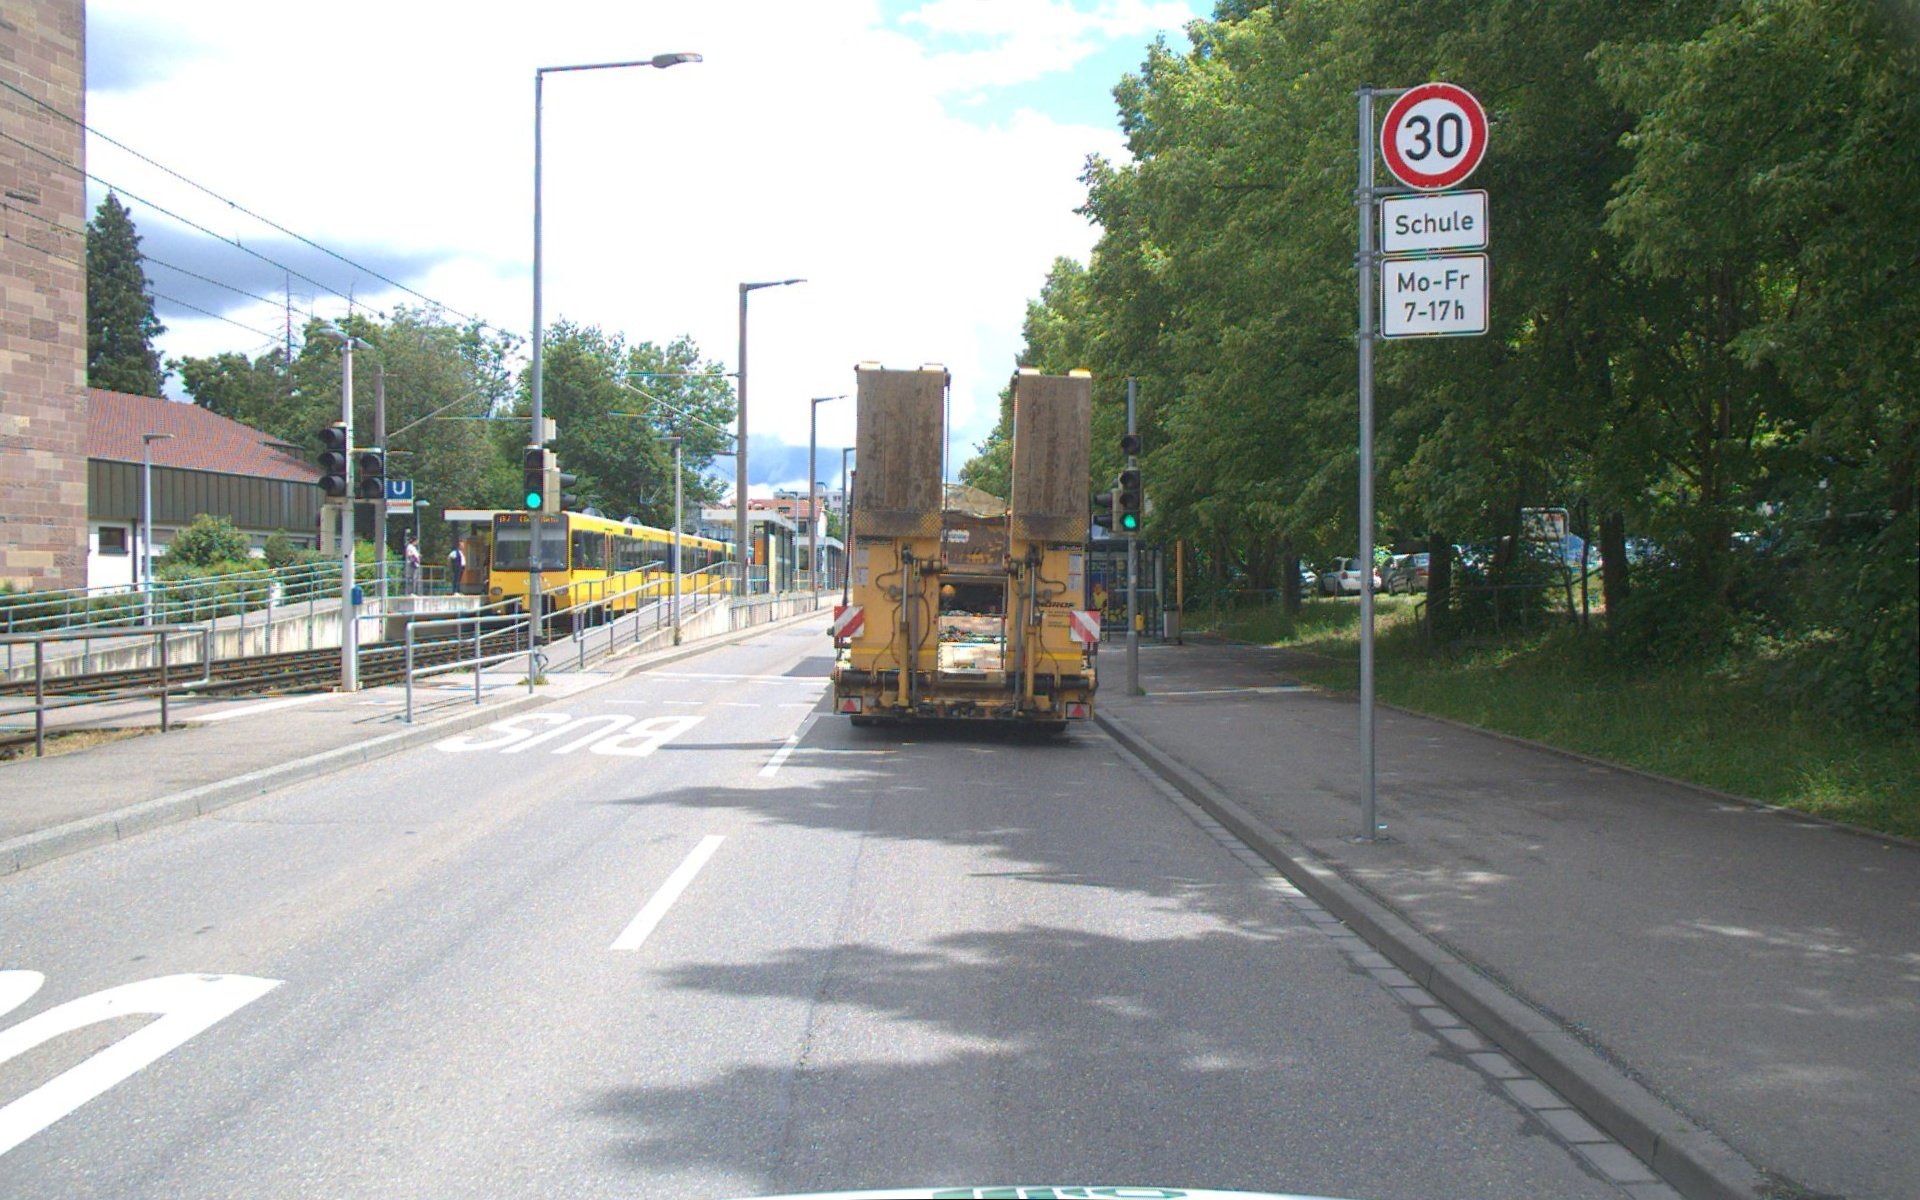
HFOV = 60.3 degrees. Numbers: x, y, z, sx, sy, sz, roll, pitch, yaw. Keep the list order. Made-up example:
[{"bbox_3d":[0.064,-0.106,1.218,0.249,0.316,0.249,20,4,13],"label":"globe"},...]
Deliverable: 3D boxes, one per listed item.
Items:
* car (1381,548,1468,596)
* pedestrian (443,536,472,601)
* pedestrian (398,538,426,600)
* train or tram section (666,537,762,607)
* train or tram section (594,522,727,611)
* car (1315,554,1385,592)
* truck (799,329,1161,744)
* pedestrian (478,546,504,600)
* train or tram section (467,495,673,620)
[{"bbox_3d":[15.762,-0.934,56.318,1.580,1.467,4.352,-3,0,-1],"label":"car"},{"bbox_3d":[-16.050,-0.997,52.852,0.698,2.049,0.731,2,0,-3],"label":"pedestrian"},{"bbox_3d":[-16.083,-0.902,48.548,0.572,1.809,0.576,2,0,-1],"label":"pedestrian"},{"bbox_3d":[-13.942,-1.519,95.497,3.045,3.525,19.193,2,0,-1],"label":"train or tram section"},{"bbox_3d":[-13.455,-1.420,76.436,3.045,3.525,18.991,2,0,-1],"label":"train or tram section"},{"bbox_3d":[16.009,-1.083,68.047,1.803,1.445,4.123,-2,0,-1],"label":"car"},{"bbox_3d":[-0.237,-0.633,22.087,3.335,3.797,13.728,0,0,-4],"label":"truck"},{"bbox_3d":[-15.369,-0.869,54.253,0.626,1.737,0.645,2,0,-1],"label":"pedestrian"},{"bbox_3d":[-12.979,-1.302,57.532,3.045,3.525,18.821,2,0,-1],"label":"train or tram section"}]
